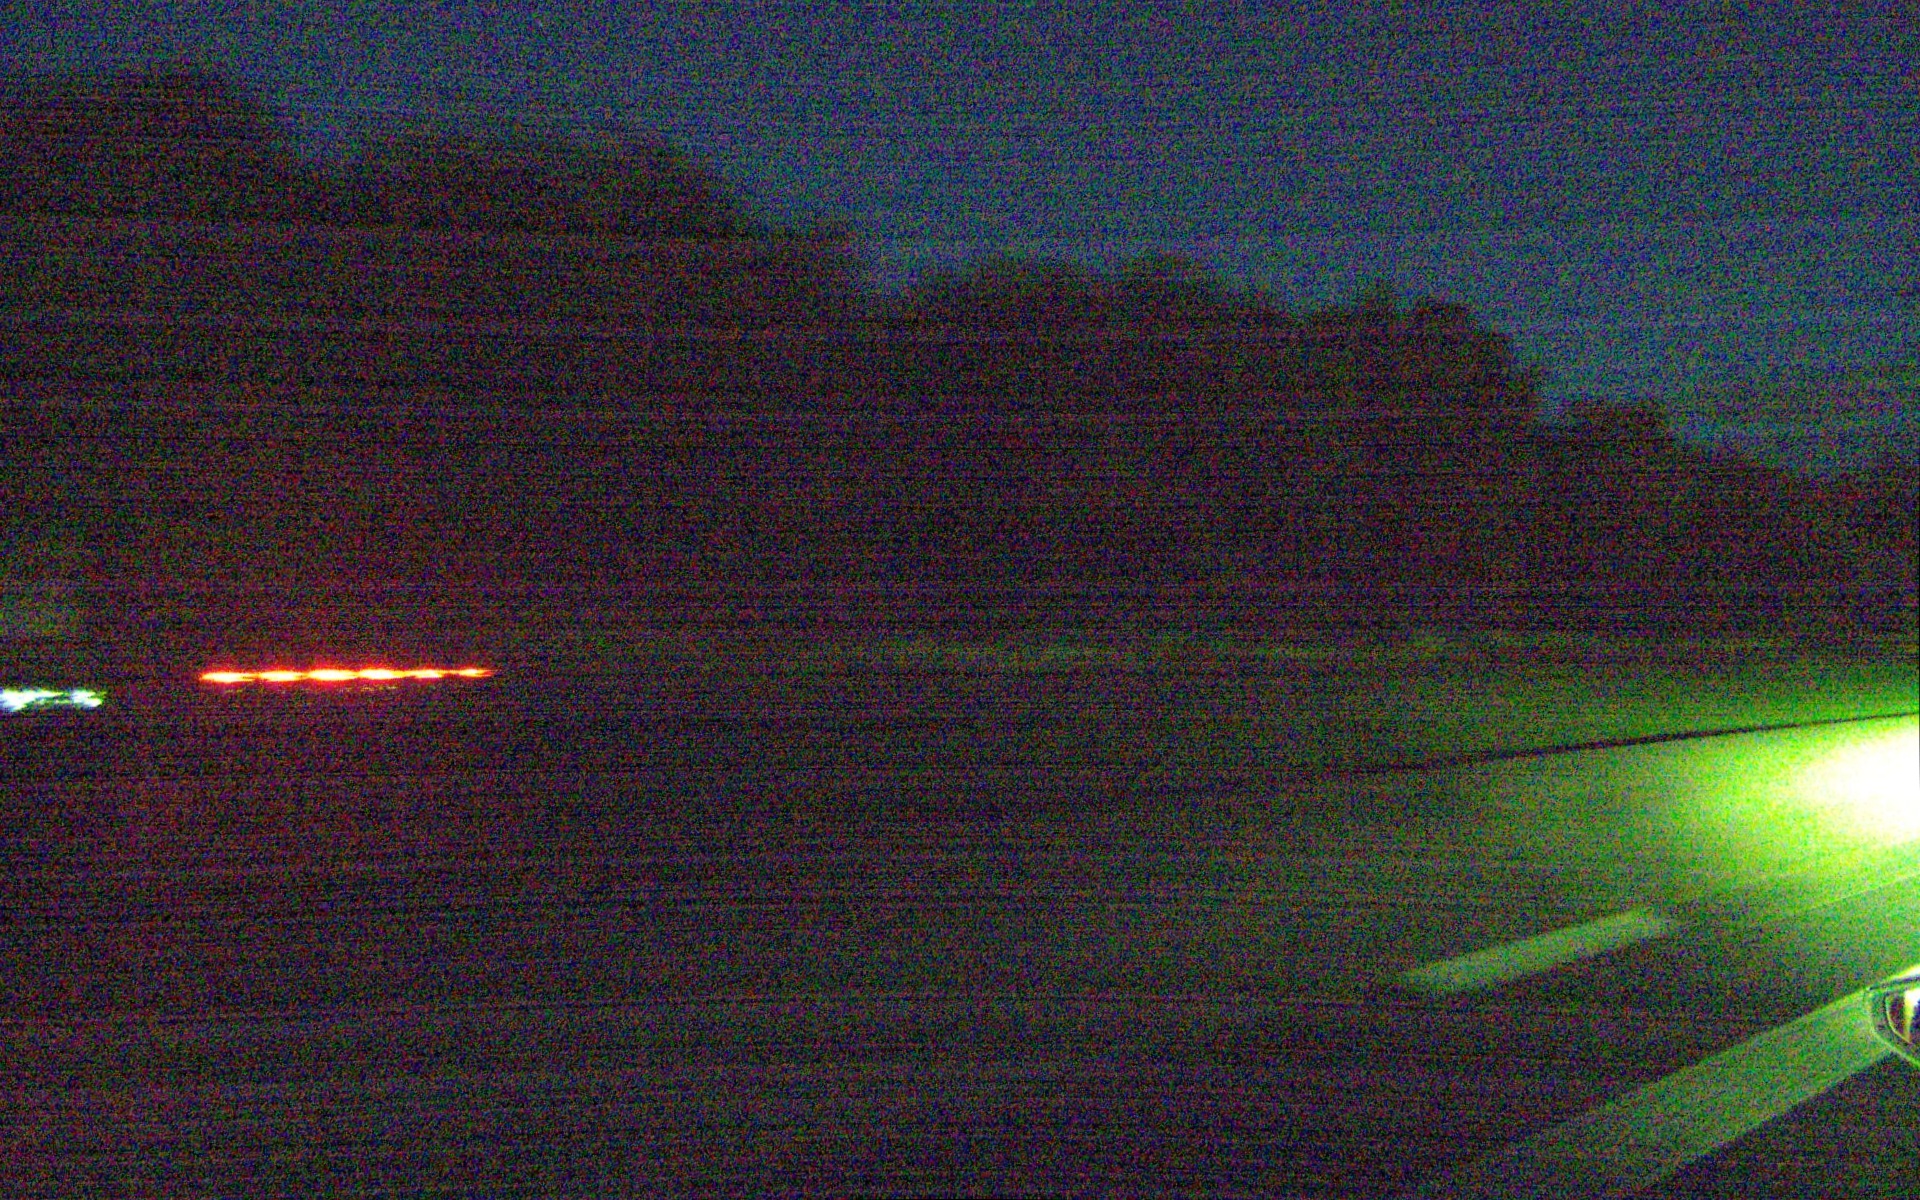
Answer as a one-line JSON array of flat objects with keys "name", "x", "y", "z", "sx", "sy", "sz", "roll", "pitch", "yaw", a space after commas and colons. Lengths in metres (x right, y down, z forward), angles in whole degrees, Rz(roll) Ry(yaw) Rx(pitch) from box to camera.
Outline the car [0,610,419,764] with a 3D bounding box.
[{"name": "car", "x": -9.130, "y": 1.011, "z": 12.195, "sx": 4.419, "sy": 1.572, "sz": 1.629, "roll": 3, "pitch": 0, "yaw": -31}]
